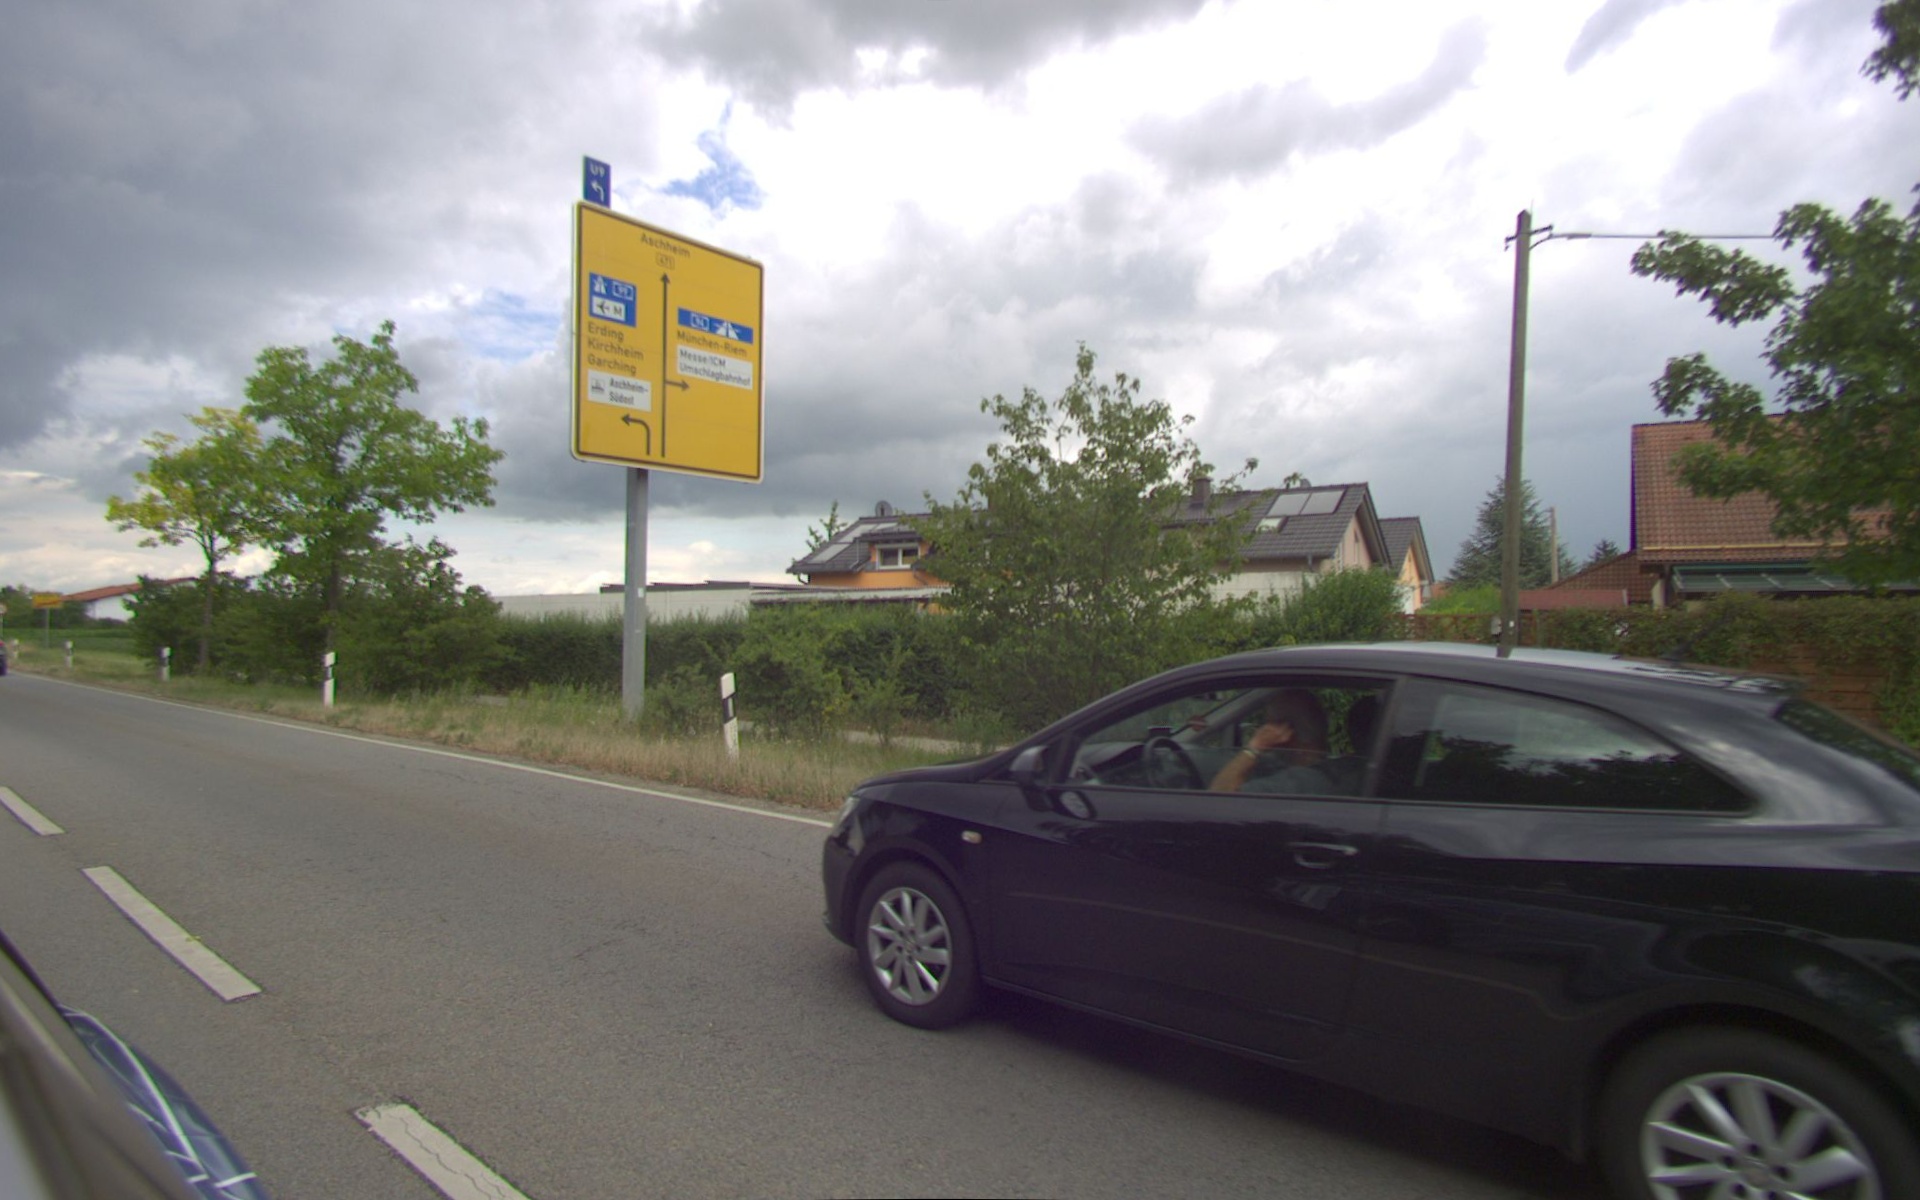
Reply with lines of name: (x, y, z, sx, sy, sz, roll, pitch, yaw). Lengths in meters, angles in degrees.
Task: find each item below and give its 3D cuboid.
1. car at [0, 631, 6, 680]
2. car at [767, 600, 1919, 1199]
car: (-31.374, 1.693, 31.589, 4.201, 1.505, 1.797, -1, -3, 40)
car: (1.300, 0.781, 3.406, 4.009, 1.422, 1.659, -1, -4, 40)
